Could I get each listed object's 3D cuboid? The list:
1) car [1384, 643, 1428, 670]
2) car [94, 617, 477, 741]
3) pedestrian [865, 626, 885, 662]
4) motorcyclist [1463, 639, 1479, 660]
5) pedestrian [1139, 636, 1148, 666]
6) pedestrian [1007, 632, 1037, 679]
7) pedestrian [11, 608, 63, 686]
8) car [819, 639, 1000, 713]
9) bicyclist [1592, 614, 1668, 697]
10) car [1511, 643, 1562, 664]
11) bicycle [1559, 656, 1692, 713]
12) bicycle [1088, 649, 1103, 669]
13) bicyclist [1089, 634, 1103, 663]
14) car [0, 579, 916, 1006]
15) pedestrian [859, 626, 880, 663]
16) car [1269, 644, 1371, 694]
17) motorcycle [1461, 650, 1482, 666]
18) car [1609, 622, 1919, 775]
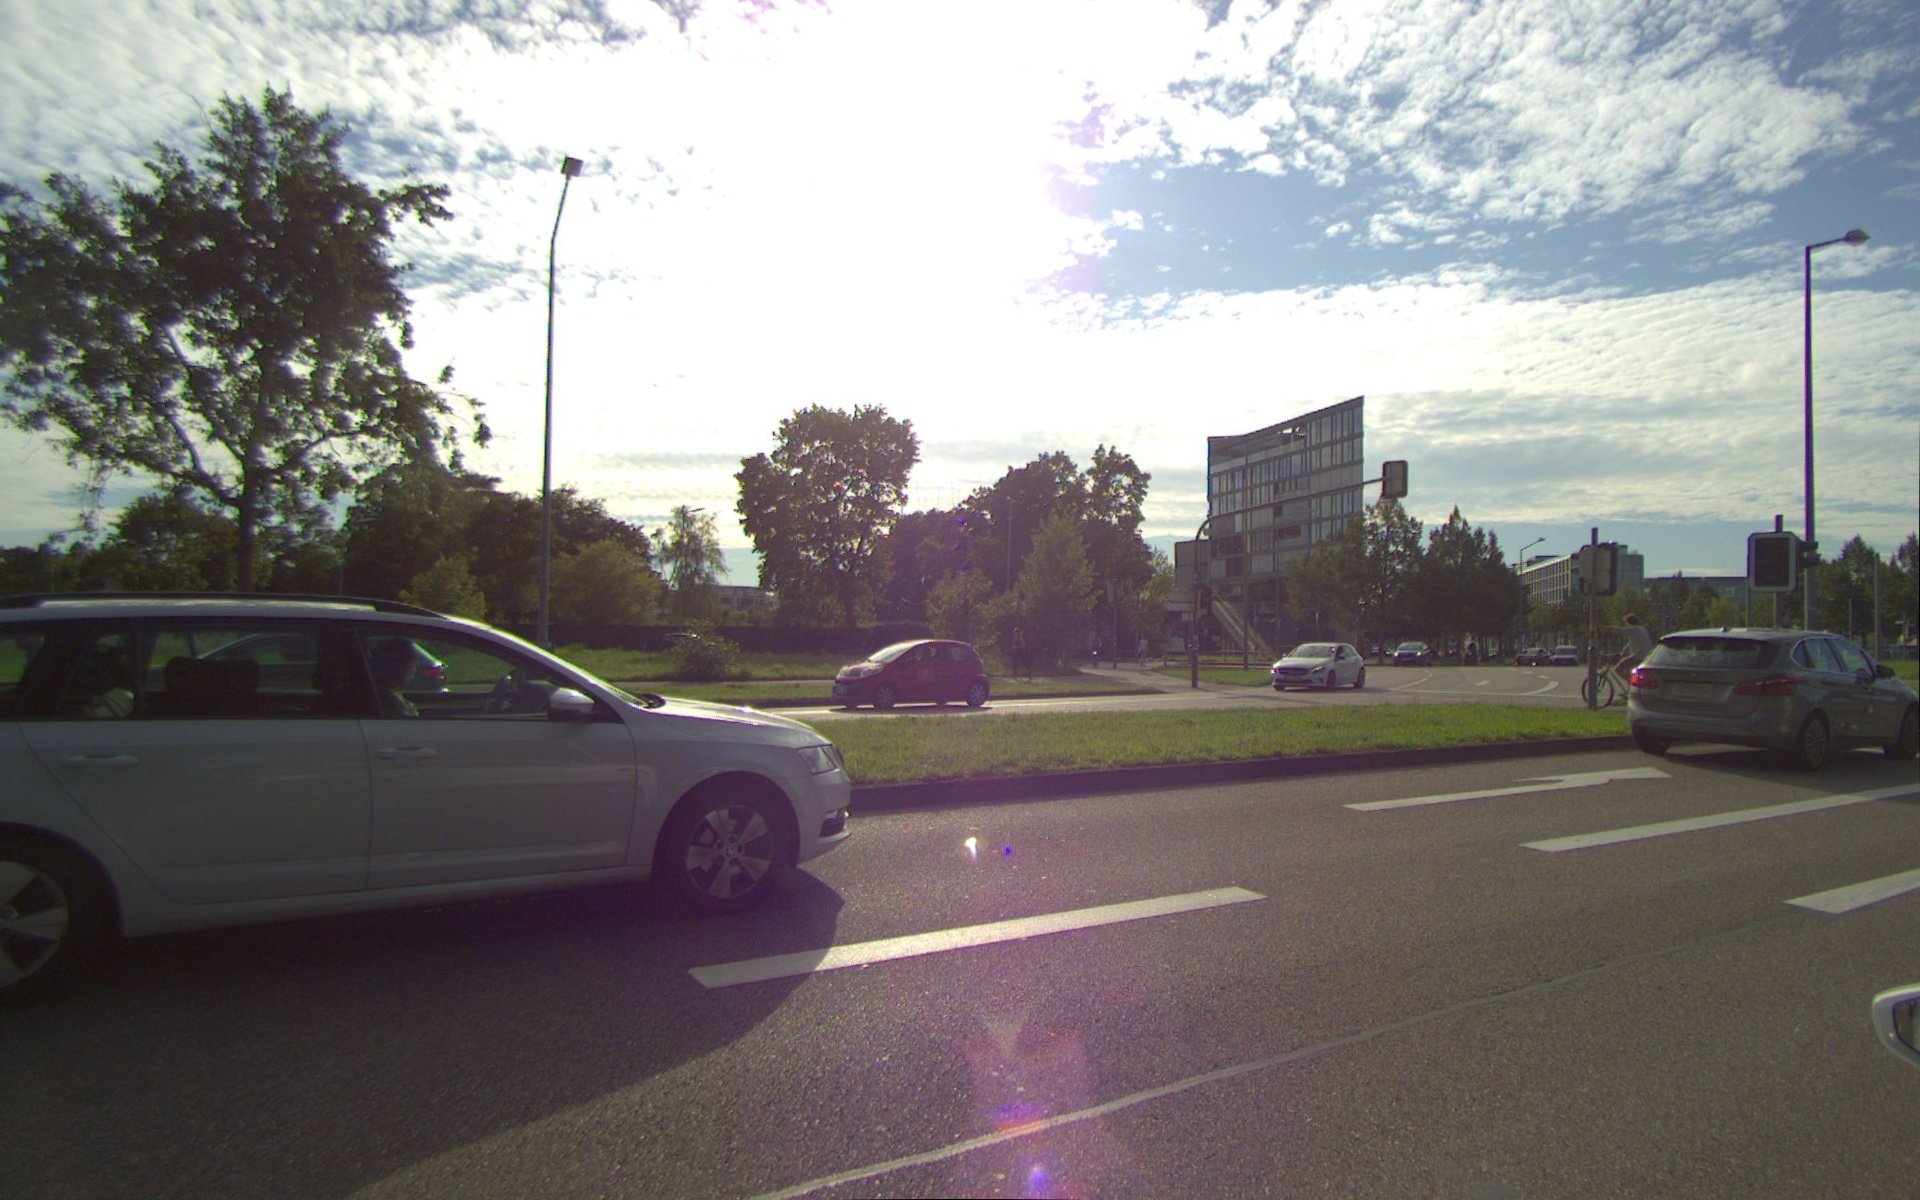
[{"bbox_3d":[26.602,3.378,59.814,1.753,1.520,3.984,-3,-4,33],"label":"car"},{"bbox_3d":[-8.854,1.052,13.620,4.021,1.452,1.842,2,-5,-31],"label":"car"},{"bbox_3d":[-4.733,2.425,55.826,0.879,1.942,0.867,2,0,7],"label":"pedestrian"},{"bbox_3d":[34.766,3.358,68.326,0.774,1.384,0.937,-1,-3,45],"label":"motorcyclist"},{"bbox_3d":[10.187,2.843,55.798,0.495,1.646,0.548,0,-2,10],"label":"pedestrian"},{"bbox_3d":[2.069,1.838,33.608,0.752,1.528,0.620,2,1,-44],"label":"pedestrian"},{"bbox_3d":[-19.749,0.995,21.507,0.649,1.651,0.624,1,-1,-28],"label":"pedestrian"},{"bbox_3d":[-1.058,1.593,21.606,3.555,1.452,1.669,2,-3,-35],"label":"car"},{"bbox_3d":[13.023,1.072,19.538,0.984,1.576,0.860,2,-2,-25],"label":"bicyclist"},{"bbox_3d":[43.196,3.999,75.274,3.959,1.439,1.752,2,-2,-34],"label":"car"},{"bbox_3d":[12.969,1.621,19.652,0.988,1.020,1.949,2,-2,-25],"label":"bicycle"},{"bbox_3d":[7.092,3.065,52.452,0.599,1.001,1.839,-1,-1,14],"label":"bicycle"},{"bbox_3d":[7.098,2.537,52.467,0.599,1.464,0.698,0,-1,15],"label":"bicyclist"},{"bbox_3d":[-2.671,0.707,4.883,4.584,1.464,1.842,2,-1,-30],"label":"car"},{"bbox_3d":[-4.949,2.413,54.899,0.879,1.942,0.867,2,0,7],"label":"pedestrian"},{"bbox_3d":[11.281,2.116,31.317,1.661,1.452,3.973,-1,-3,42],"label":"car"},{"bbox_3d":[34.840,3.950,68.364,0.773,0.999,2.012,0,0,43],"label":"motorcycle"},{"bbox_3d":[10.026,1.121,12.400,4.019,1.593,1.759,2,-1,-30],"label":"car"}]
